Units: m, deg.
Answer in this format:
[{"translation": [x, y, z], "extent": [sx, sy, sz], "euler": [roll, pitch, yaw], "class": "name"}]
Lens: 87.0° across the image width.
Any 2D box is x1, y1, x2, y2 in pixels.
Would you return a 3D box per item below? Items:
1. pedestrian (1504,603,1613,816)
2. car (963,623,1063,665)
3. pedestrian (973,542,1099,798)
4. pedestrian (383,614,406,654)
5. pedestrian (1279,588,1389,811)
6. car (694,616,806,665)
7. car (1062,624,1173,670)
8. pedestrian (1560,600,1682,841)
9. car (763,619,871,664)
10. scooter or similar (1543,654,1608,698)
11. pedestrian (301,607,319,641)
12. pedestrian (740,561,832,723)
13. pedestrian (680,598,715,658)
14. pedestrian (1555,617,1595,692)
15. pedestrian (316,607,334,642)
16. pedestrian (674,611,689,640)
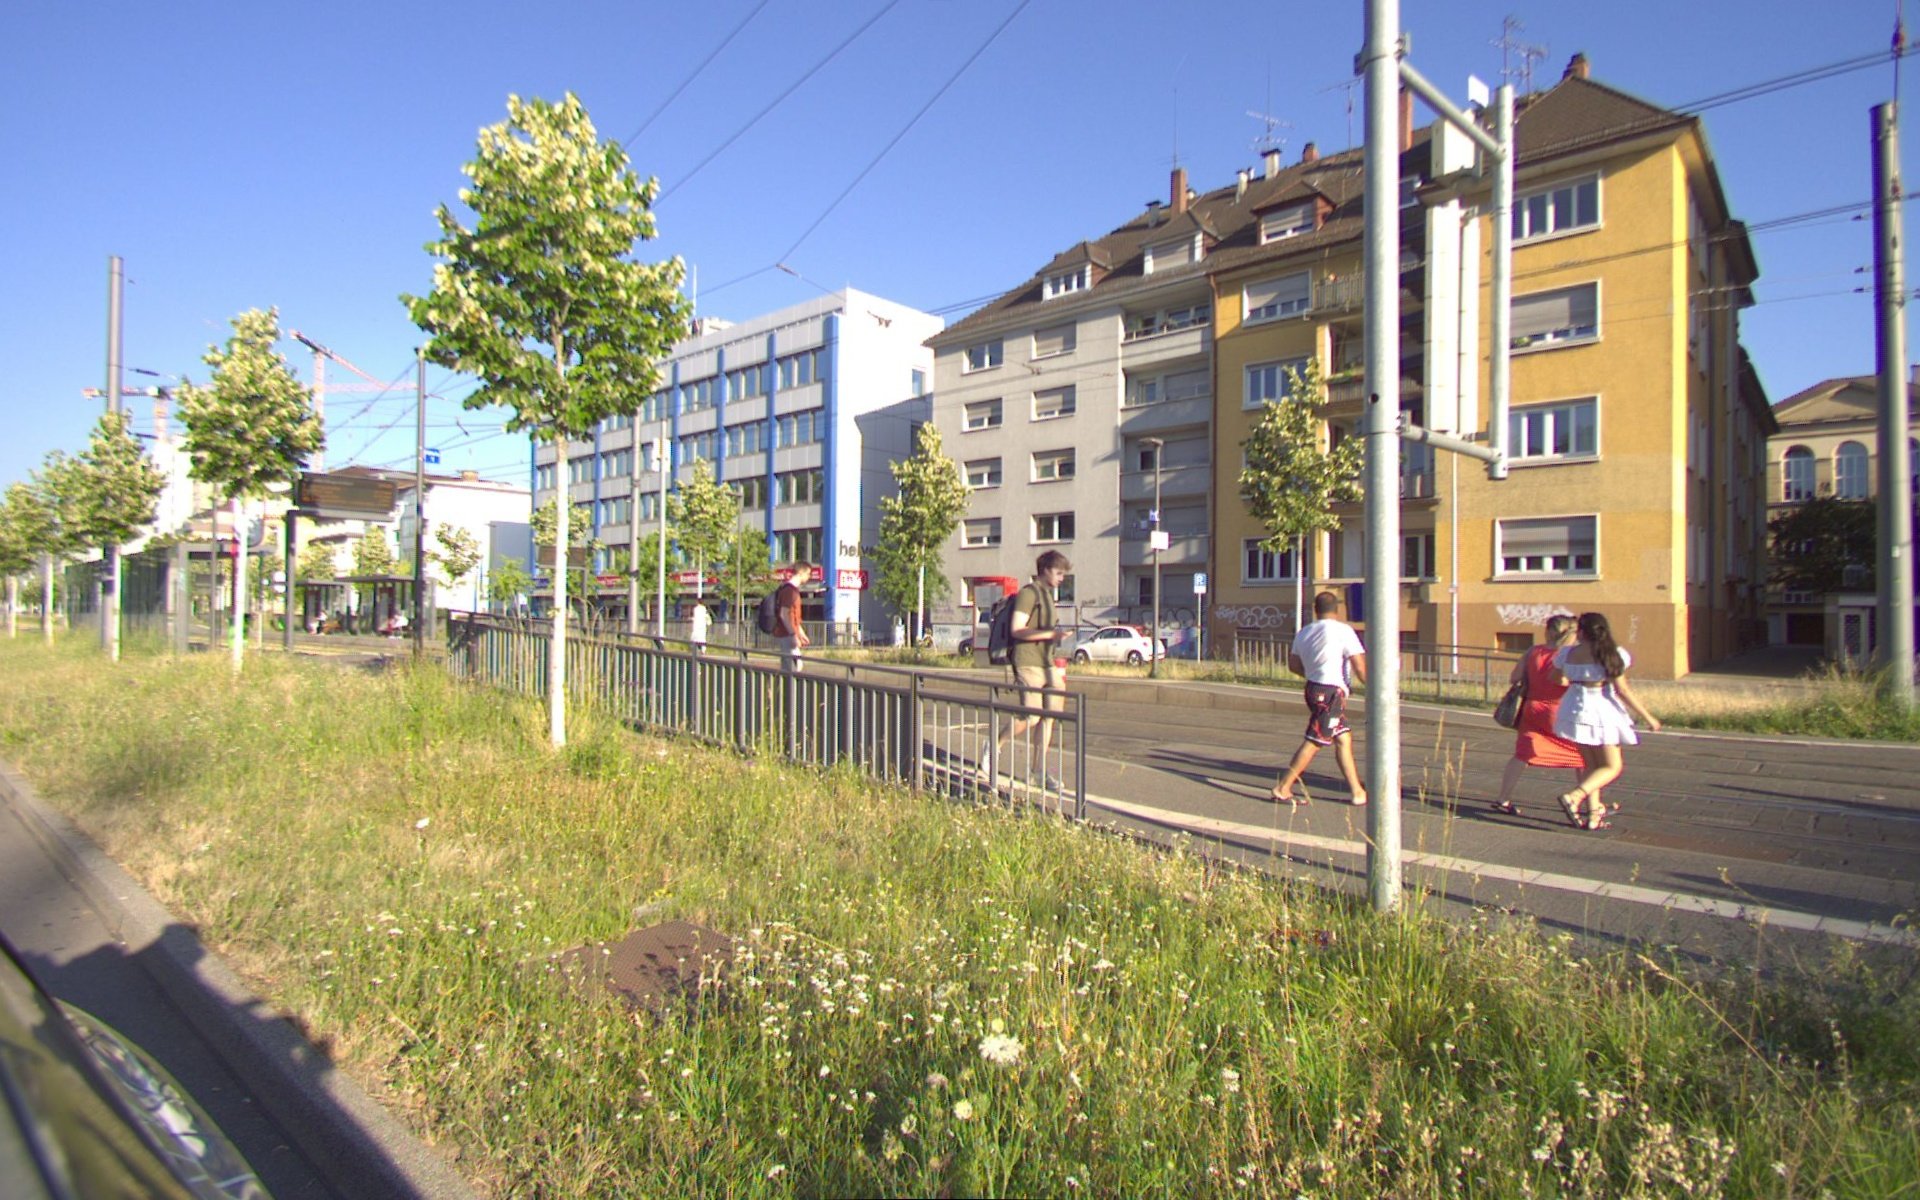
[{"translation": [4.260, 0.744, 7.235], "extent": [0.520, 1.442, 0.635], "euler": [0, 0, 17], "class": "pedestrian"}, {"translation": [2.108, 1.723, 40.635], "extent": [3.672, 1.519, 1.861], "euler": [0, 0, 41], "class": "car"}, {"translation": [0.602, 0.513, 7.916], "extent": [0.620, 1.878, 0.776], "euler": [0, 0, 44], "class": "pedestrian"}, {"translation": [-24.729, 1.473, 44.231], "extent": [0.771, 1.705, 0.651], "euler": [0, 0, 39], "class": "pedestrian"}, {"translation": [2.813, 0.696, 7.586], "extent": [0.618, 1.560, 0.779], "euler": [0, 0, 33], "class": "pedestrian"}, {"translation": [-7.352, 1.362, 35.275], "extent": [3.941, 1.519, 1.861], "euler": [0, 0, 41], "class": "car"}, {"translation": [5.814, 1.703, 37.488], "extent": [3.672, 1.519, 1.861], "euler": [0, 0, 41], "class": "car"}, {"translation": [4.261, 0.735, 6.556], "extent": [0.521, 1.467, 0.634], "euler": [0, 0, 21], "class": "pedestrian"}, {"translation": [-5.378, 1.493, 37.844], "extent": [3.941, 1.519, 1.861], "euler": [0, 0, 41], "class": "car"}, {"translation": [15.640, 1.917, 25.727], "extent": [0.480, 1.013, 1.331], "euler": [-1, 0, -42], "class": "scooter or similar"}, {"translation": [-33.729, 1.243, 52.523], "extent": [0.772, 1.705, 0.651], "euler": [0, 0, 44], "class": "pedestrian"}, {"translation": [-1.922, 0.437, 11.174], "extent": [0.620, 1.711, 0.776], "euler": [0, 0, 44], "class": "pedestrian"}, {"translation": [-7.522, 0.799, 29.003], "extent": [0.620, 1.685, 0.776], "euler": [0, 0, 44], "class": "pedestrian"}, {"translation": [15.625, 1.363, 25.703], "extent": [0.553, 1.861, 0.724], "euler": [-1, 0, -42], "class": "pedestrian"}, {"translation": [-32.006, 1.233, 50.990], "extent": [0.650, 1.705, 0.773], "euler": [-1, 0, -43], "class": "pedestrian"}, {"translation": [-16.714, 1.527, 60.721], "extent": [0.636, 1.759, 0.599], "euler": [-1, 0, -42], "class": "pedestrian"}]
